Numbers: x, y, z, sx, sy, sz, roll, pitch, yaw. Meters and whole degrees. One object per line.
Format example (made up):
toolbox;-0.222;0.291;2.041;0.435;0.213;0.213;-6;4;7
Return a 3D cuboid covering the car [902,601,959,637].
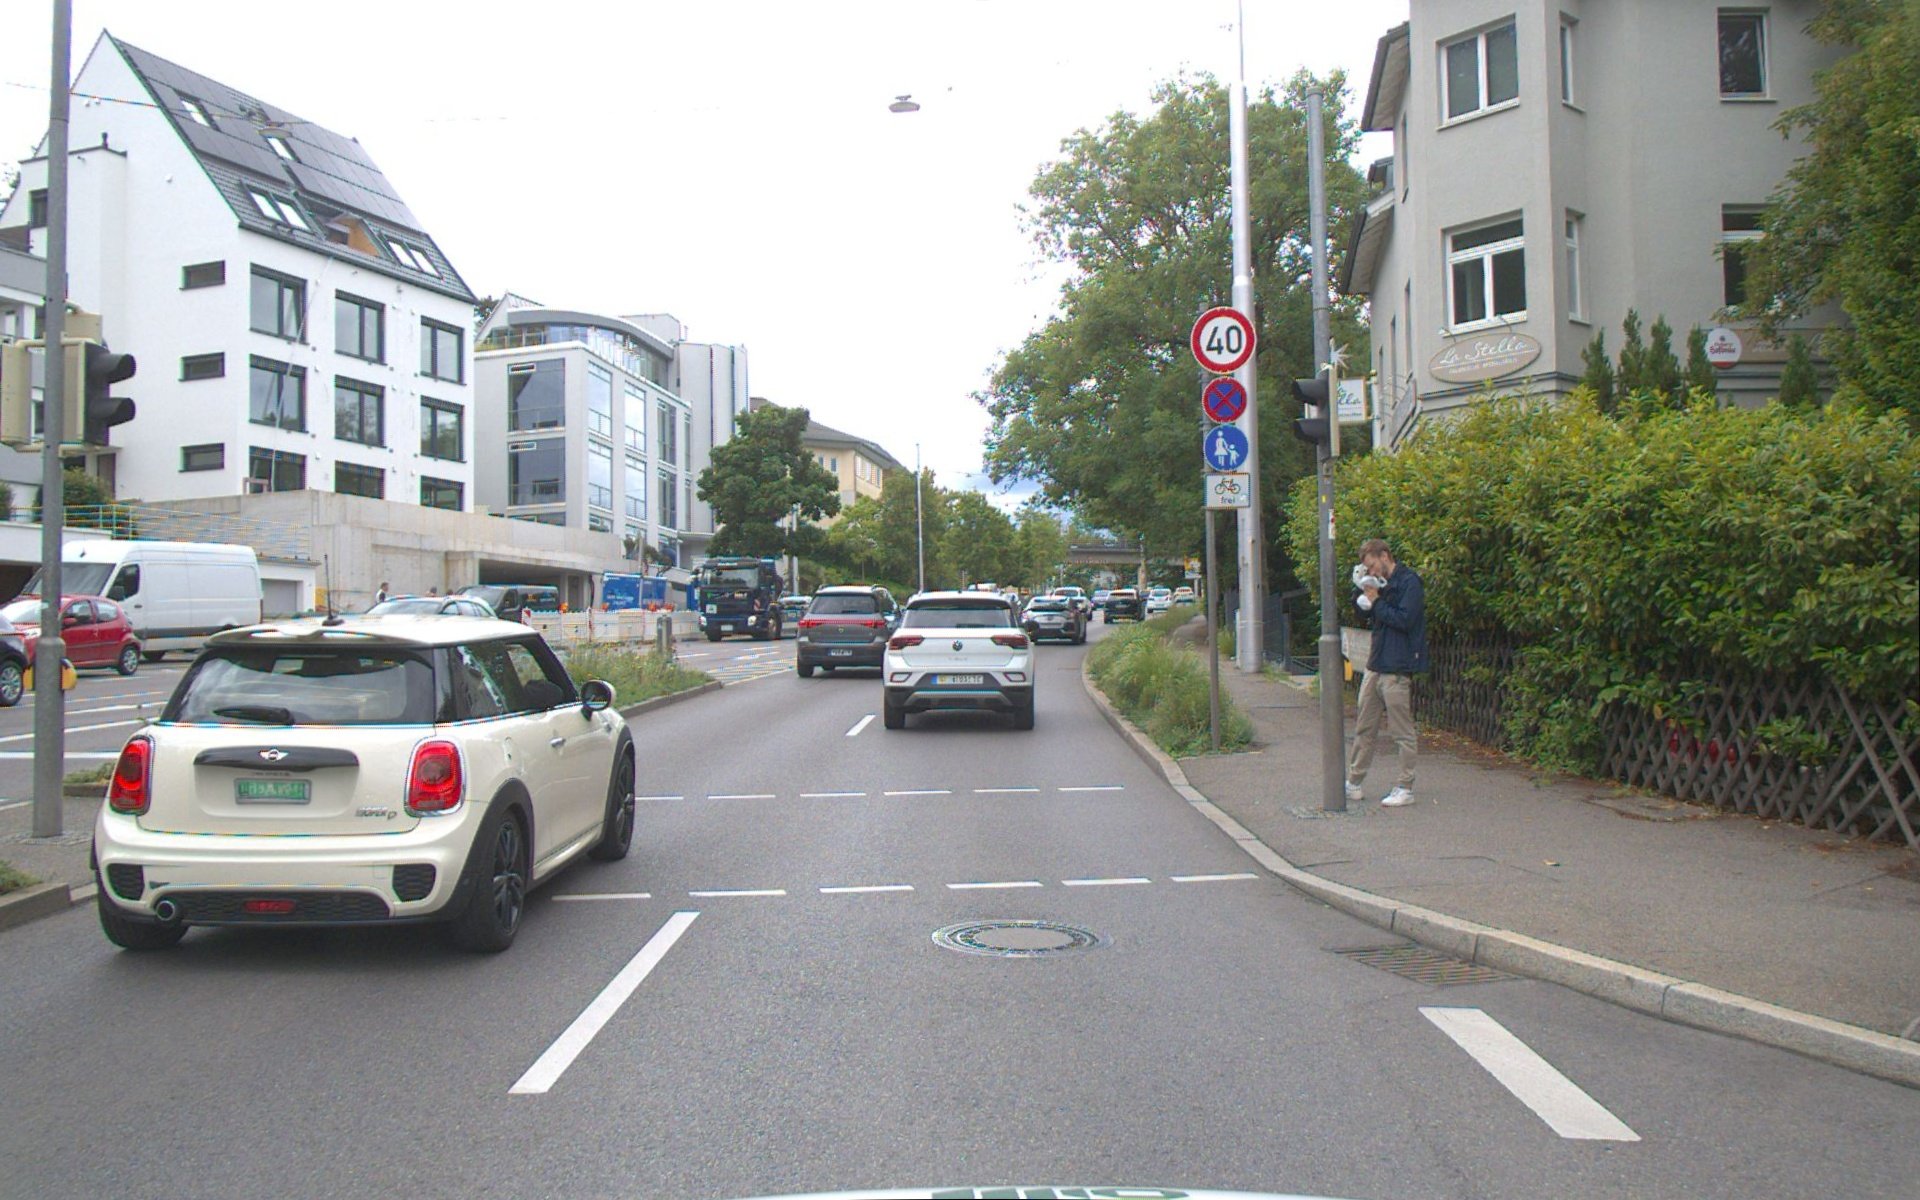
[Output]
car;-1.289;0.808;73.642;1.659;1.523;4.490;0;0;10

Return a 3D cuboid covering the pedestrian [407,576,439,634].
pedestrian;-15.804;0.147;48.659;0.669;1.669;0.662;1;0;-40

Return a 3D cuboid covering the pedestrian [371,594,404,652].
pedestrian;-16.811;0.672;48.597;0.612;1.669;0.672;1;0;17

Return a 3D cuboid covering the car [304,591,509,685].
car;-9.747;0.632;29.530;1.656;1.527;4.558;0;0;7

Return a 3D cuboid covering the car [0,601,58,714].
car;-13.171;0.714;20.358;1.591;1.417;3.860;2;0;8

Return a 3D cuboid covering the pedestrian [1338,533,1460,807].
pedestrian;3.072;0.482;11.620;0.679;1.866;0.620;1;0;0

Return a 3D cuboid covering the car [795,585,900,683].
car;-2.063;0.587;31.463;1.776;1.681;4.634;-1;0;-2

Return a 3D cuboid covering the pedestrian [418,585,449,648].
pedestrian;-15.860;0.500;49.796;0.669;1.873;0.662;1;0;-40

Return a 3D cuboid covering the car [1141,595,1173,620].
car;12.516;0.454;104.792;1.818;1.526;4.059;-1;0;9

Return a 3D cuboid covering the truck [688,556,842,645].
truck;-6.994;0.007;60.968;2.898;3.023;8.986;0;0;12

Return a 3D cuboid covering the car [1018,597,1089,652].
car;2.892;0.728;50.536;1.833;1.527;4.558;2;0;7

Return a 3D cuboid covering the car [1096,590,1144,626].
car;7.479;0.379;76.846;1.833;1.527;4.558;2;0;10

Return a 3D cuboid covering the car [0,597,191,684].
car;-16.034;0.695;30.542;1.587;1.491;3.929;-1;0;4

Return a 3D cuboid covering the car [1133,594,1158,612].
car;16.544;0.232;147.661;1.819;1.526;4.056;-1;0;1

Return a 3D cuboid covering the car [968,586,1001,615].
car;2.073;-0.007;137.753;2.024;2.346;5.469;-1;0;8

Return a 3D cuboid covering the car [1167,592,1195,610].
car;19.509;0.044;146.231;1.945;1.526;4.055;-1;0;0

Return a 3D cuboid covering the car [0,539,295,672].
car;-17.730;0.104;36.536;2.184;2.613;7.428;-1;0;8

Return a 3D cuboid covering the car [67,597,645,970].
car;-2.706;0.713;8.270;1.595;1.417;3.565;-1;0;-1

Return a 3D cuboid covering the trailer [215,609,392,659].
trailer;-16.761;0.840;42.493;2.198;1.131;4.626;-1;0;8

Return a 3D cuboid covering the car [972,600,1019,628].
car;1.910;0.705;87.941;1.803;1.418;4.288;-1;0;10

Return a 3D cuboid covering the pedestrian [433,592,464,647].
pedestrian;-15.734;0.609;50.892;0.669;1.669;0.662;1;0;-40

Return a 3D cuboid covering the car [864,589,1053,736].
car;-0.114;0.680;19.986;1.777;1.566;3.683;-1;0;-8

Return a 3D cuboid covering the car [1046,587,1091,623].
car;5.374;0.233;81.448;1.818;1.681;4.640;-1;0;9

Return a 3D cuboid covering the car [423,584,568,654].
car;-14.005;0.531;50.270;1.940;2.001;5.222;-1;0;13
